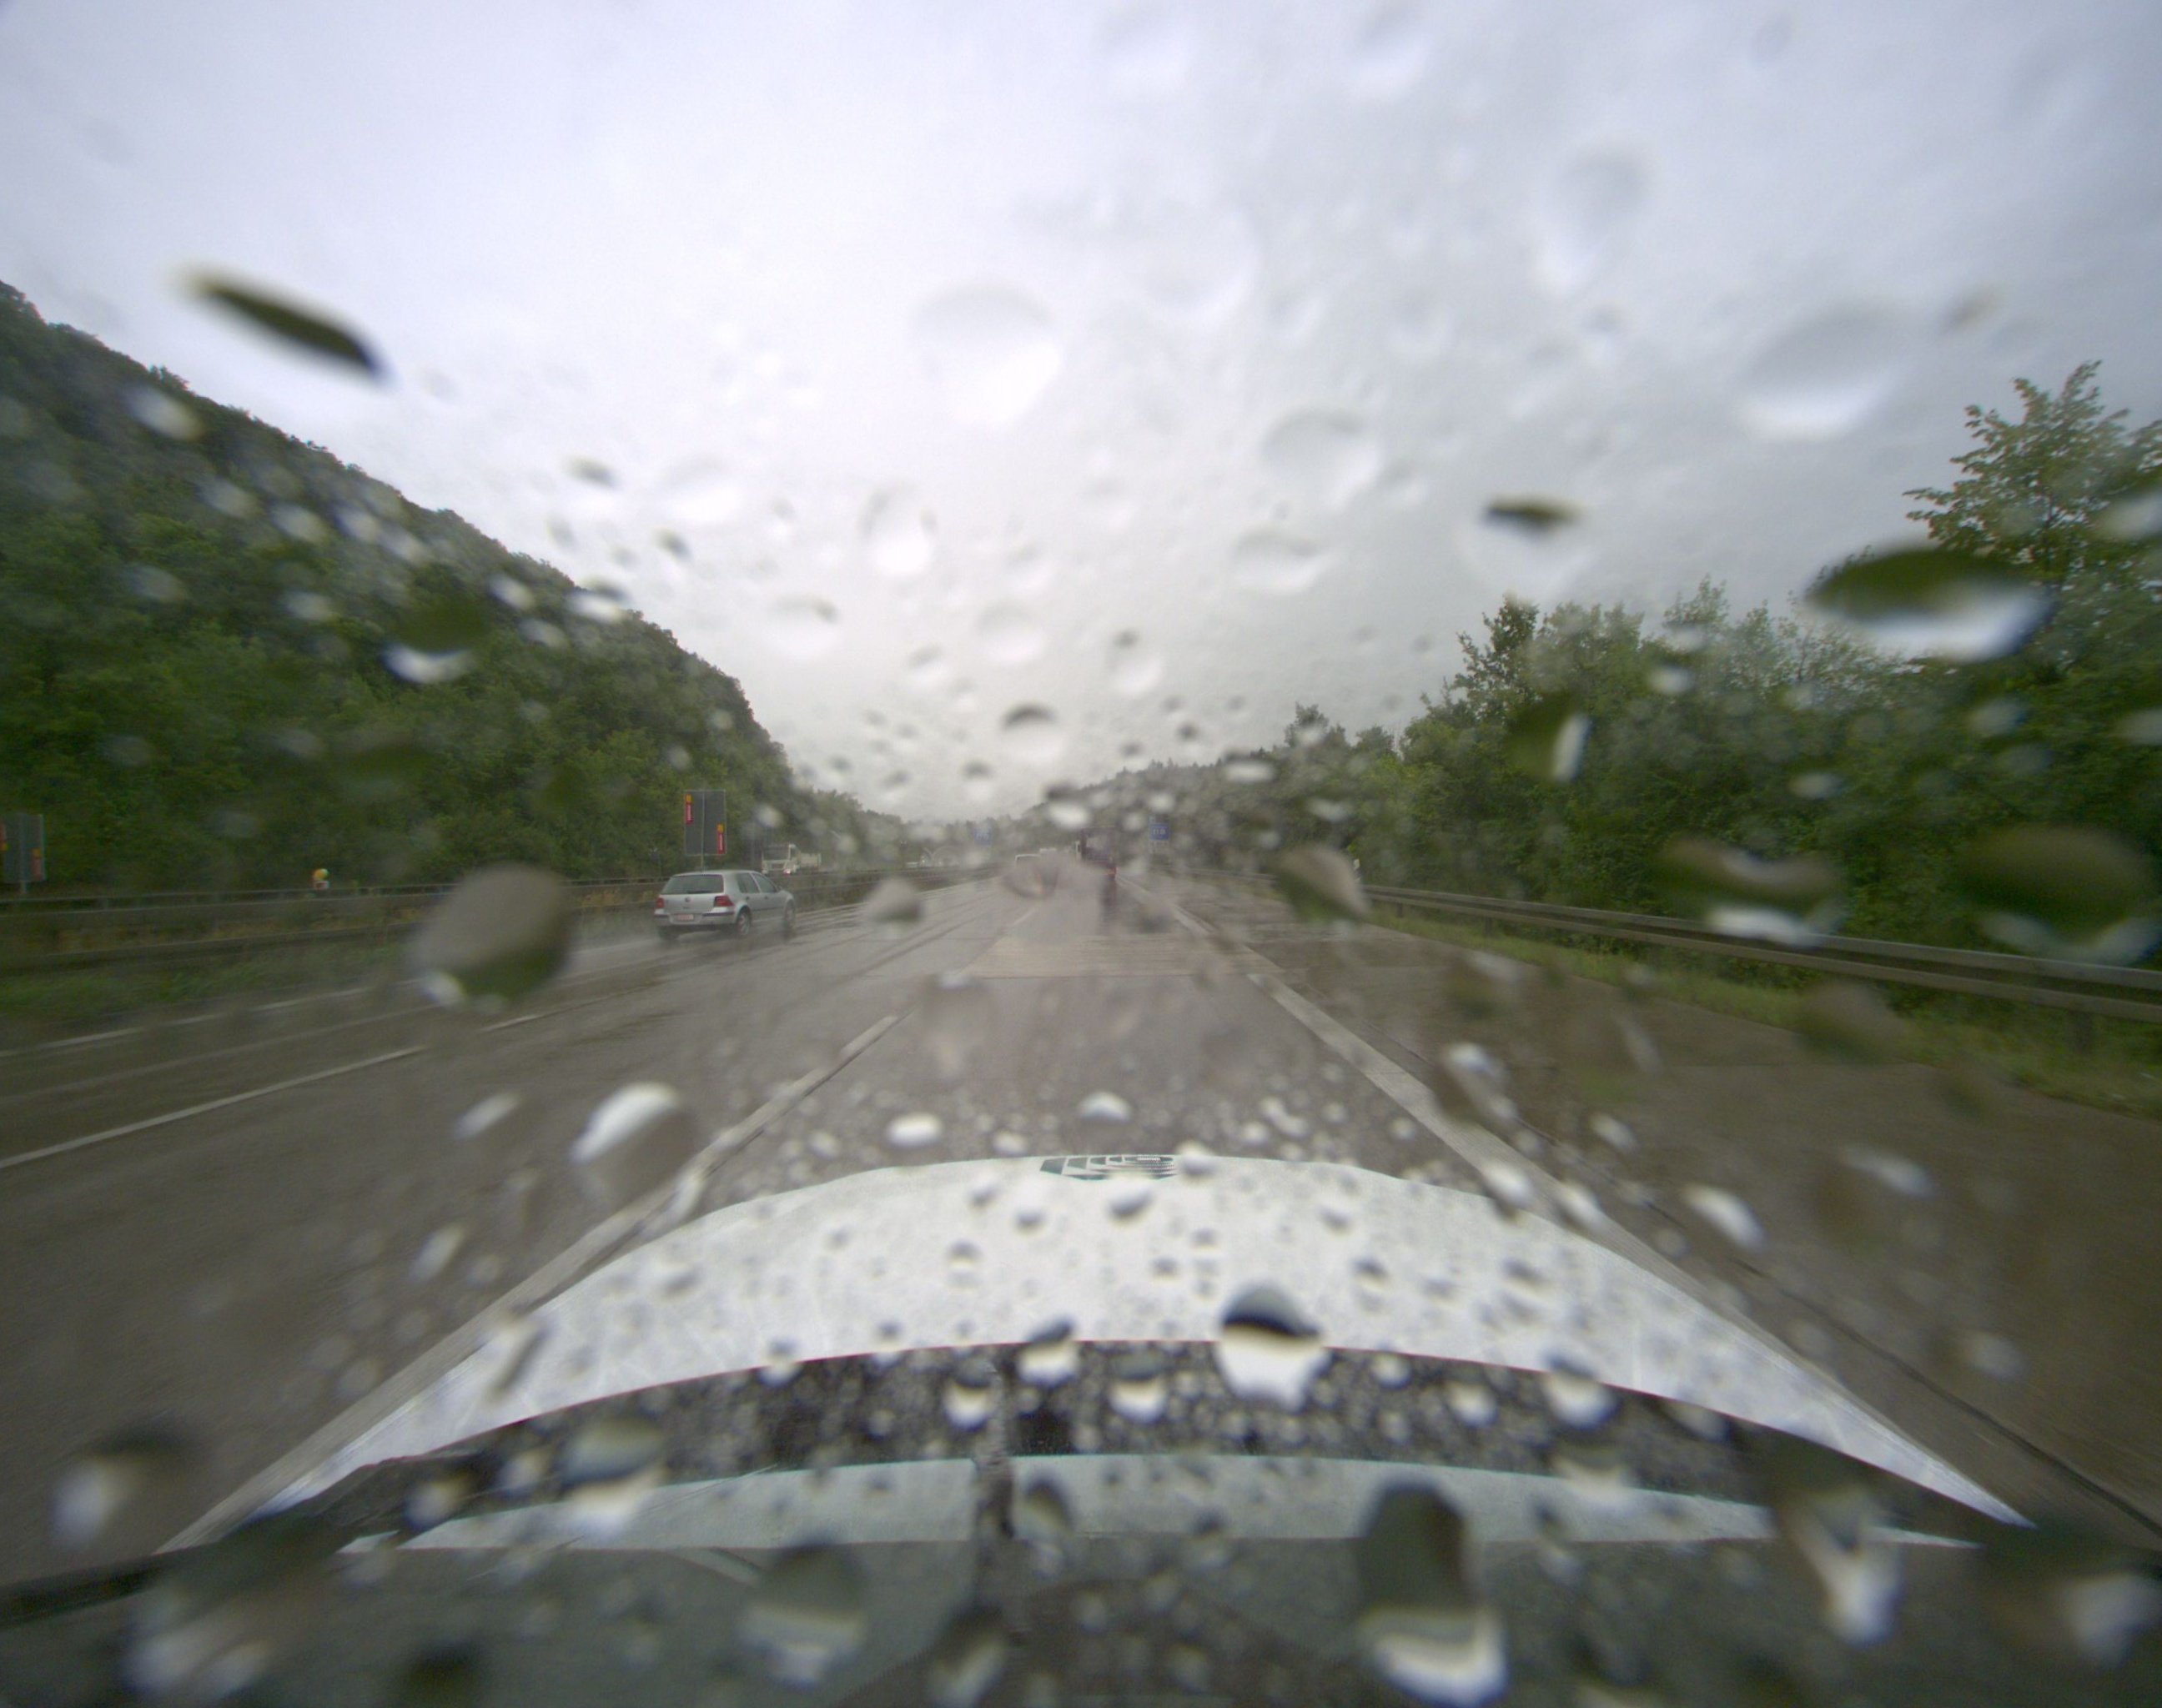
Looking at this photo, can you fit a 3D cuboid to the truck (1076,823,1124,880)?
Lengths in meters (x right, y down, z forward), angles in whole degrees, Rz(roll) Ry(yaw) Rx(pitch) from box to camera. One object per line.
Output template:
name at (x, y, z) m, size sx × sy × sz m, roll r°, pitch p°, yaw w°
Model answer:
truck at (1.475, -0.283, 63.669) m, size 3.373 × 3.968 × 8.669 m, roll -2°, pitch 1°, yaw 1°

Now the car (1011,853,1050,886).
car at (-3.020, 0.938, 49.915) m, size 1.892 × 1.894 × 5.045 m, roll 0°, pitch -1°, yaw 2°

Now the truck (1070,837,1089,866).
truck at (-0.279, -0.334, 109.413) m, size 1.990 × 3.806 × 6.720 m, roll -1°, pitch 0°, yaw -5°

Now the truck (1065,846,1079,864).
truck at (-1.617, 0.205, 142.996) m, size 1.990 × 3.170 × 6.720 m, roll -1°, pitch 0°, yaw -5°

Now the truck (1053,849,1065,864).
truck at (-4.722, 0.599, 172.474) m, size 1.990 × 3.170 × 6.720 m, roll -1°, pitch 0°, yaw -5°

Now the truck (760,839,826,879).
truck at (-23.524, 0.391, 66.973) m, size 2.288 × 3.019 × 7.926 m, roll -1°, pitch 0°, yaw 2°

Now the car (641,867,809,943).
car at (-7.595, 1.027, 17.898) m, size 1.661 × 1.434 × 4.352 m, roll 0°, pitch -1°, yaw 2°

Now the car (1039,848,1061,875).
car at (-2.892, 0.665, 73.992) m, size 1.895 × 2.334 × 5.244 m, roll 0°, pitch 0°, yaw -3°
